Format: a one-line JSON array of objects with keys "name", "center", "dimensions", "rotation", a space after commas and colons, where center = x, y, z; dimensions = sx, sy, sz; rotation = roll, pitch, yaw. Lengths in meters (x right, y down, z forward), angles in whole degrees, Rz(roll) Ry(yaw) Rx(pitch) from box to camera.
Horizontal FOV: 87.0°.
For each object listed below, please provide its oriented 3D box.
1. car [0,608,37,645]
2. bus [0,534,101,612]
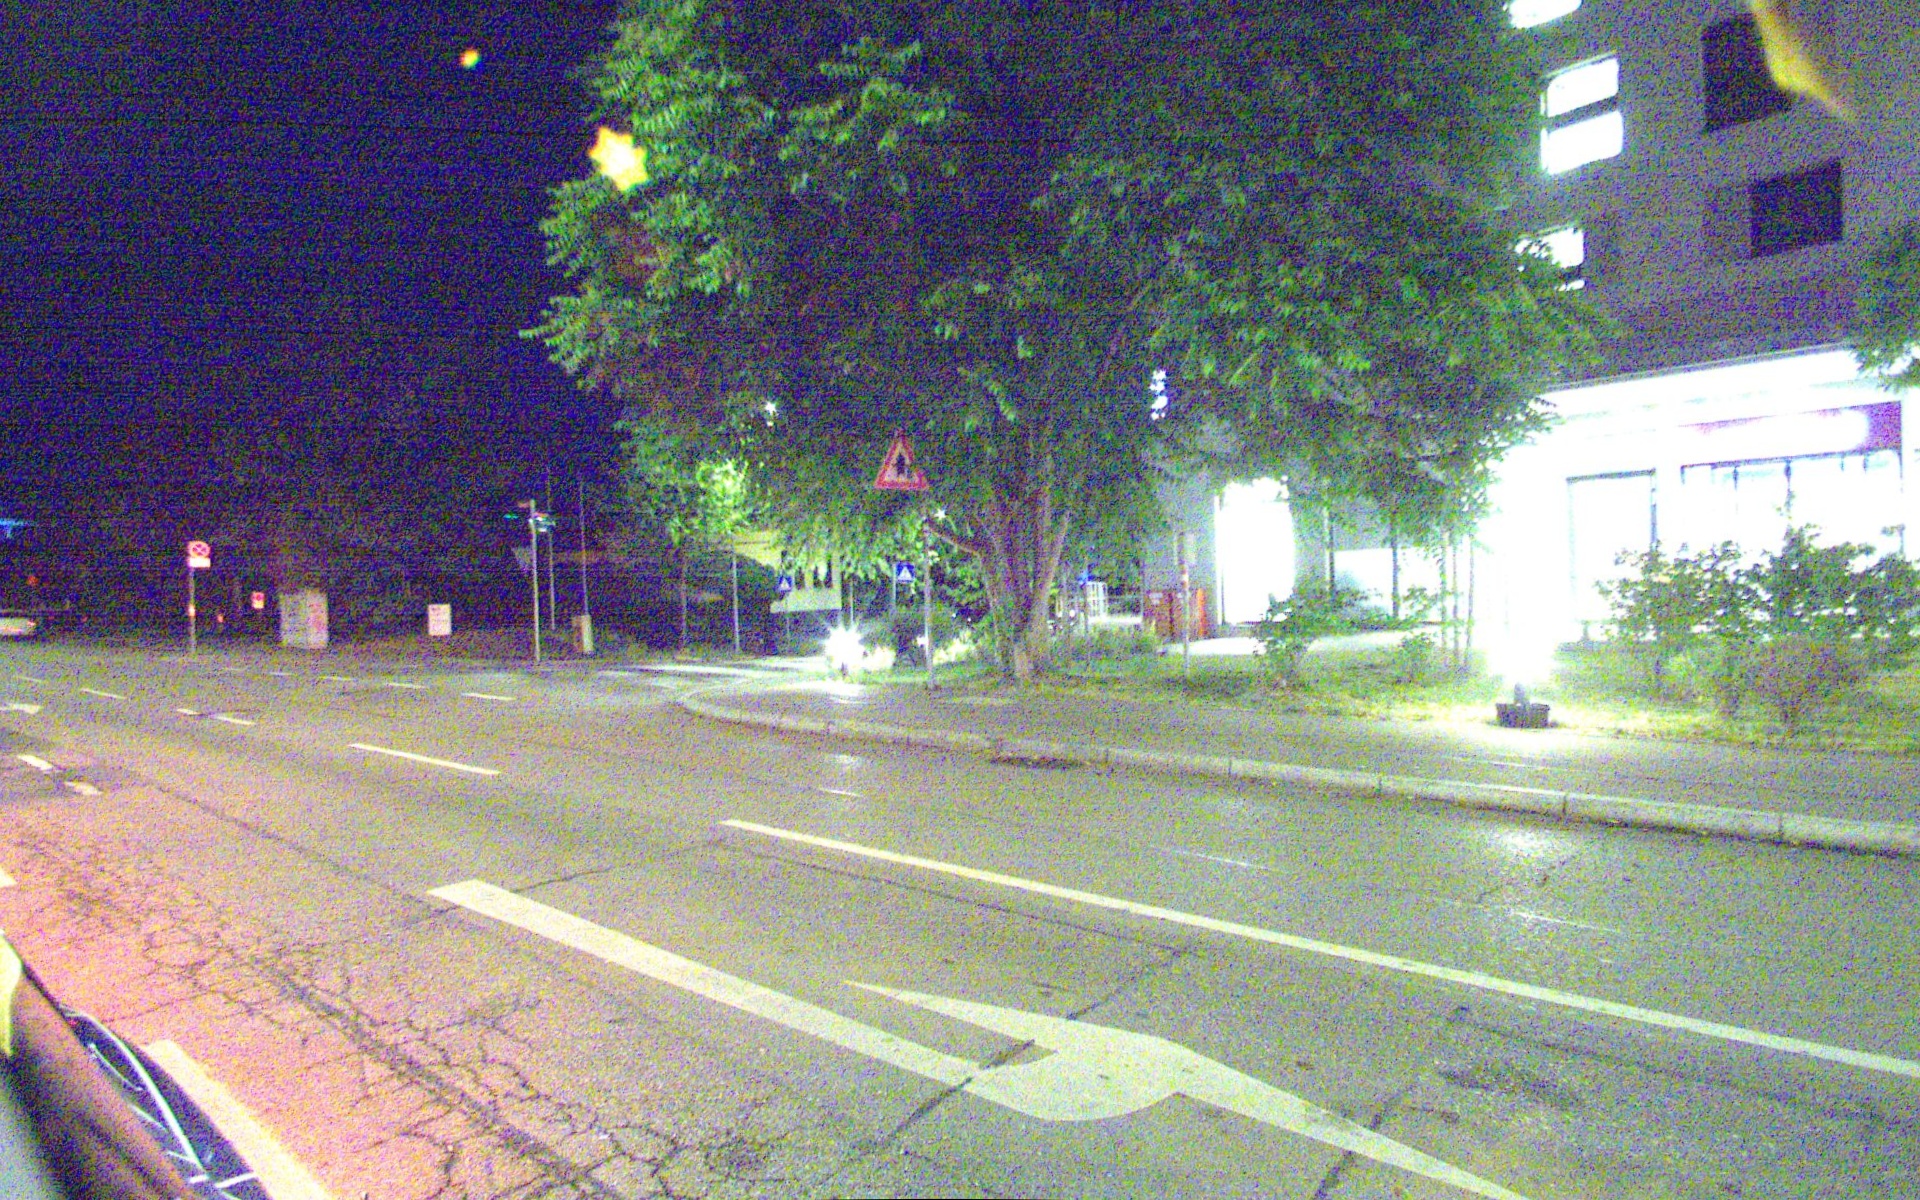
[{"name": "car", "center": [-43.179, 1.174, 45.588], "dimensions": [3.995, 1.604, 1.784], "rotation": [-1, 0, 39]}, {"name": "bus", "center": [-88.536, -2.401, 98.011], "dimensions": [14.776, 6.990, 6.056], "rotation": [-1, 0, 41]}]
